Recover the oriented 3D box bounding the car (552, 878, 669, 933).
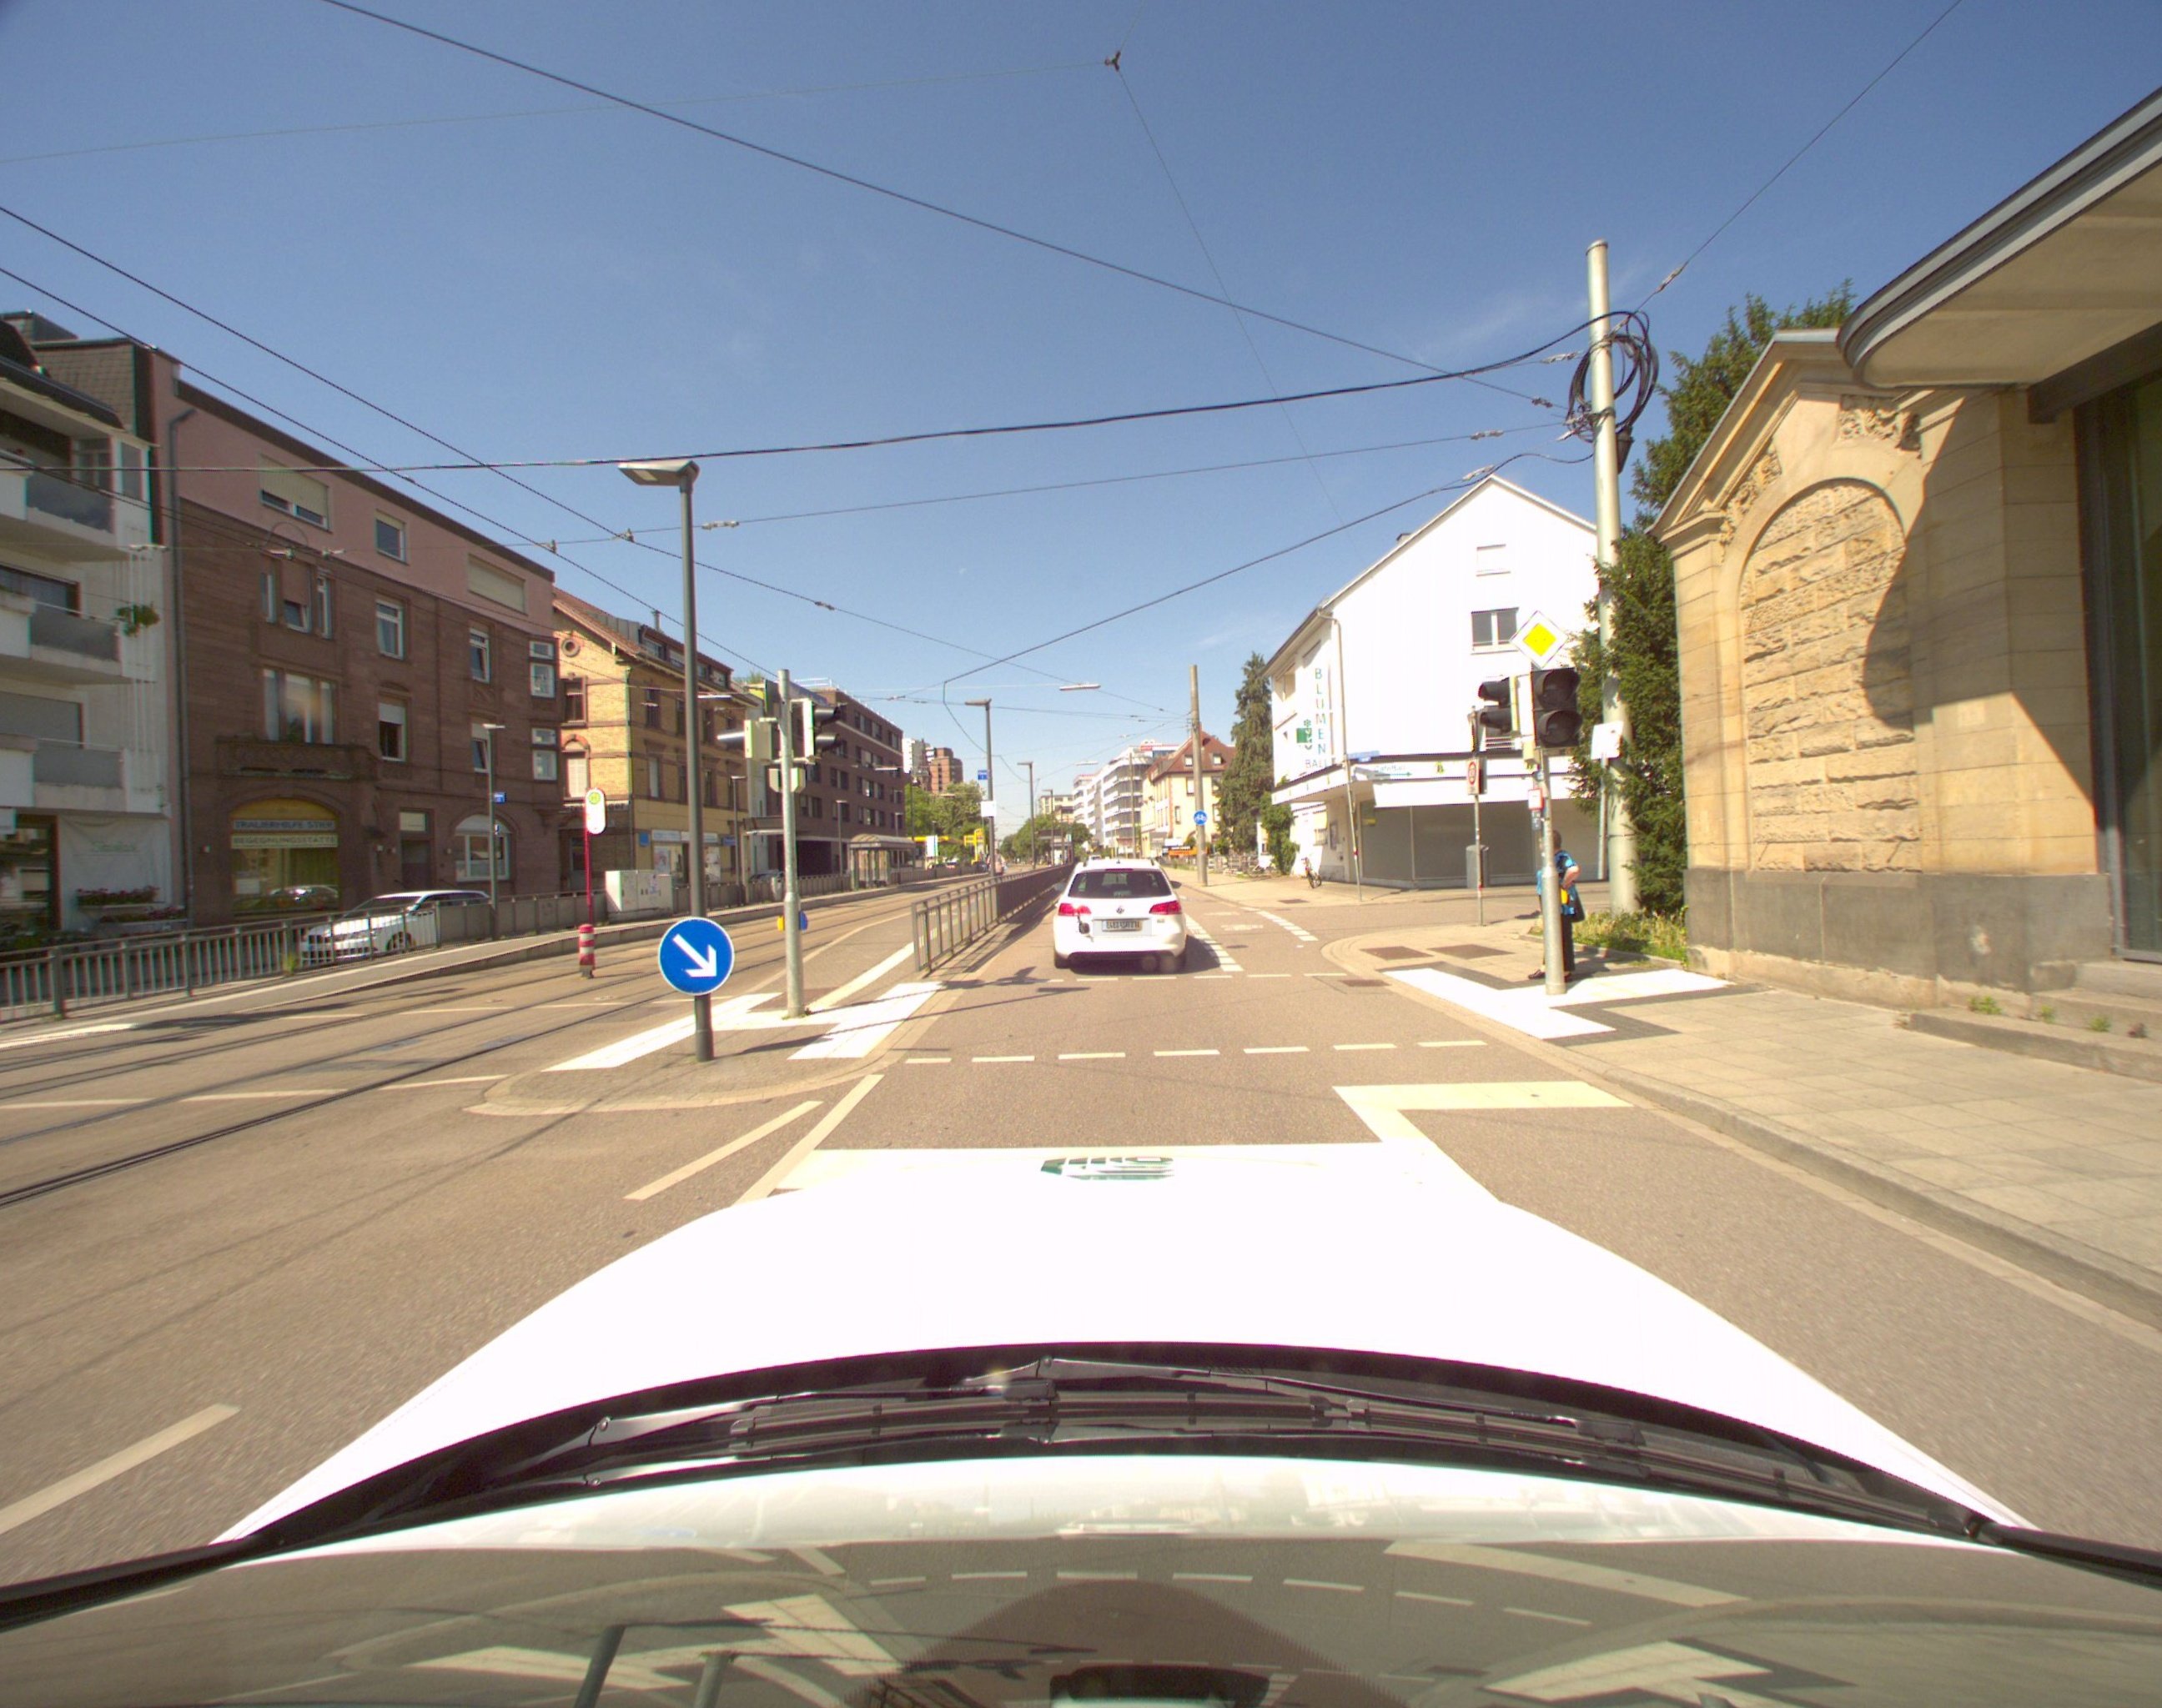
[{"bbox_3d":[-14.852,1.582,25.951,1.569,1.459,3.811,-3,0,-2],"label":"car"}]

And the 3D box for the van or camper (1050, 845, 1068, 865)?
[{"bbox_3d":[-3.849,0.201,141.288,2.937,3.180,6.605,-3,0,-3],"label":"van or camper"}]

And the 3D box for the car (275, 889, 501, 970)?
[{"bbox_3d":[-15.122,1.574,18.106,1.620,1.431,3.962,-1,0,0],"label":"car"}]

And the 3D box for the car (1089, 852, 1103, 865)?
[{"bbox_3d":[2.538,0.714,135.369,1.989,2.013,3.995,-3,0,-3],"label":"car"}]

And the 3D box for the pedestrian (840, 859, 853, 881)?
[{"bbox_3d":[-19.455,1.343,67.591,0.722,1.791,0.964,-4,0,1],"label":"pedestrian"}]

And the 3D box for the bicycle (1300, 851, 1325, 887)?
[{"bbox_3d":[7.917,0.480,27.906,0.720,1.139,2.203,-3,0,14],"label":"bicycle"}]

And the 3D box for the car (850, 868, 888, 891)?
[{"bbox_3d":[-14.806,1.759,57.131,1.567,1.459,3.934,-3,0,0],"label":"car"}]

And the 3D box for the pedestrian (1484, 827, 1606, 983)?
[{"bbox_3d":[4.771,0.506,8.435,0.775,1.510,0.860,-3,0,8],"label":"pedestrian"}]

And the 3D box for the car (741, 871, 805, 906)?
[{"bbox_3d":[-14.682,1.609,39.046,1.567,1.459,3.737,-3,0,0],"label":"car"}]

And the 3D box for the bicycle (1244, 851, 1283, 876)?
[{"bbox_3d":[8.754,0.463,39.152,1.705,1.130,0.526,-3,-1,2],"label":"bicycle"}]

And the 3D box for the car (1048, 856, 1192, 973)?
[{"bbox_3d":[0.532,0.743,11.864,1.746,1.418,3.854,0,0,2],"label":"car"}]

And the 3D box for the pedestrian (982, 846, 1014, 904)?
[{"bbox_3d":[-2.688,0.659,26.422,0.823,1.809,0.834,-3,0,2],"label":"pedestrian"}]

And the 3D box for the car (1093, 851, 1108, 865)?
[{"bbox_3d":[3.085,0.661,129.940,1.989,2.013,3.995,-3,0,-3],"label":"car"}]
